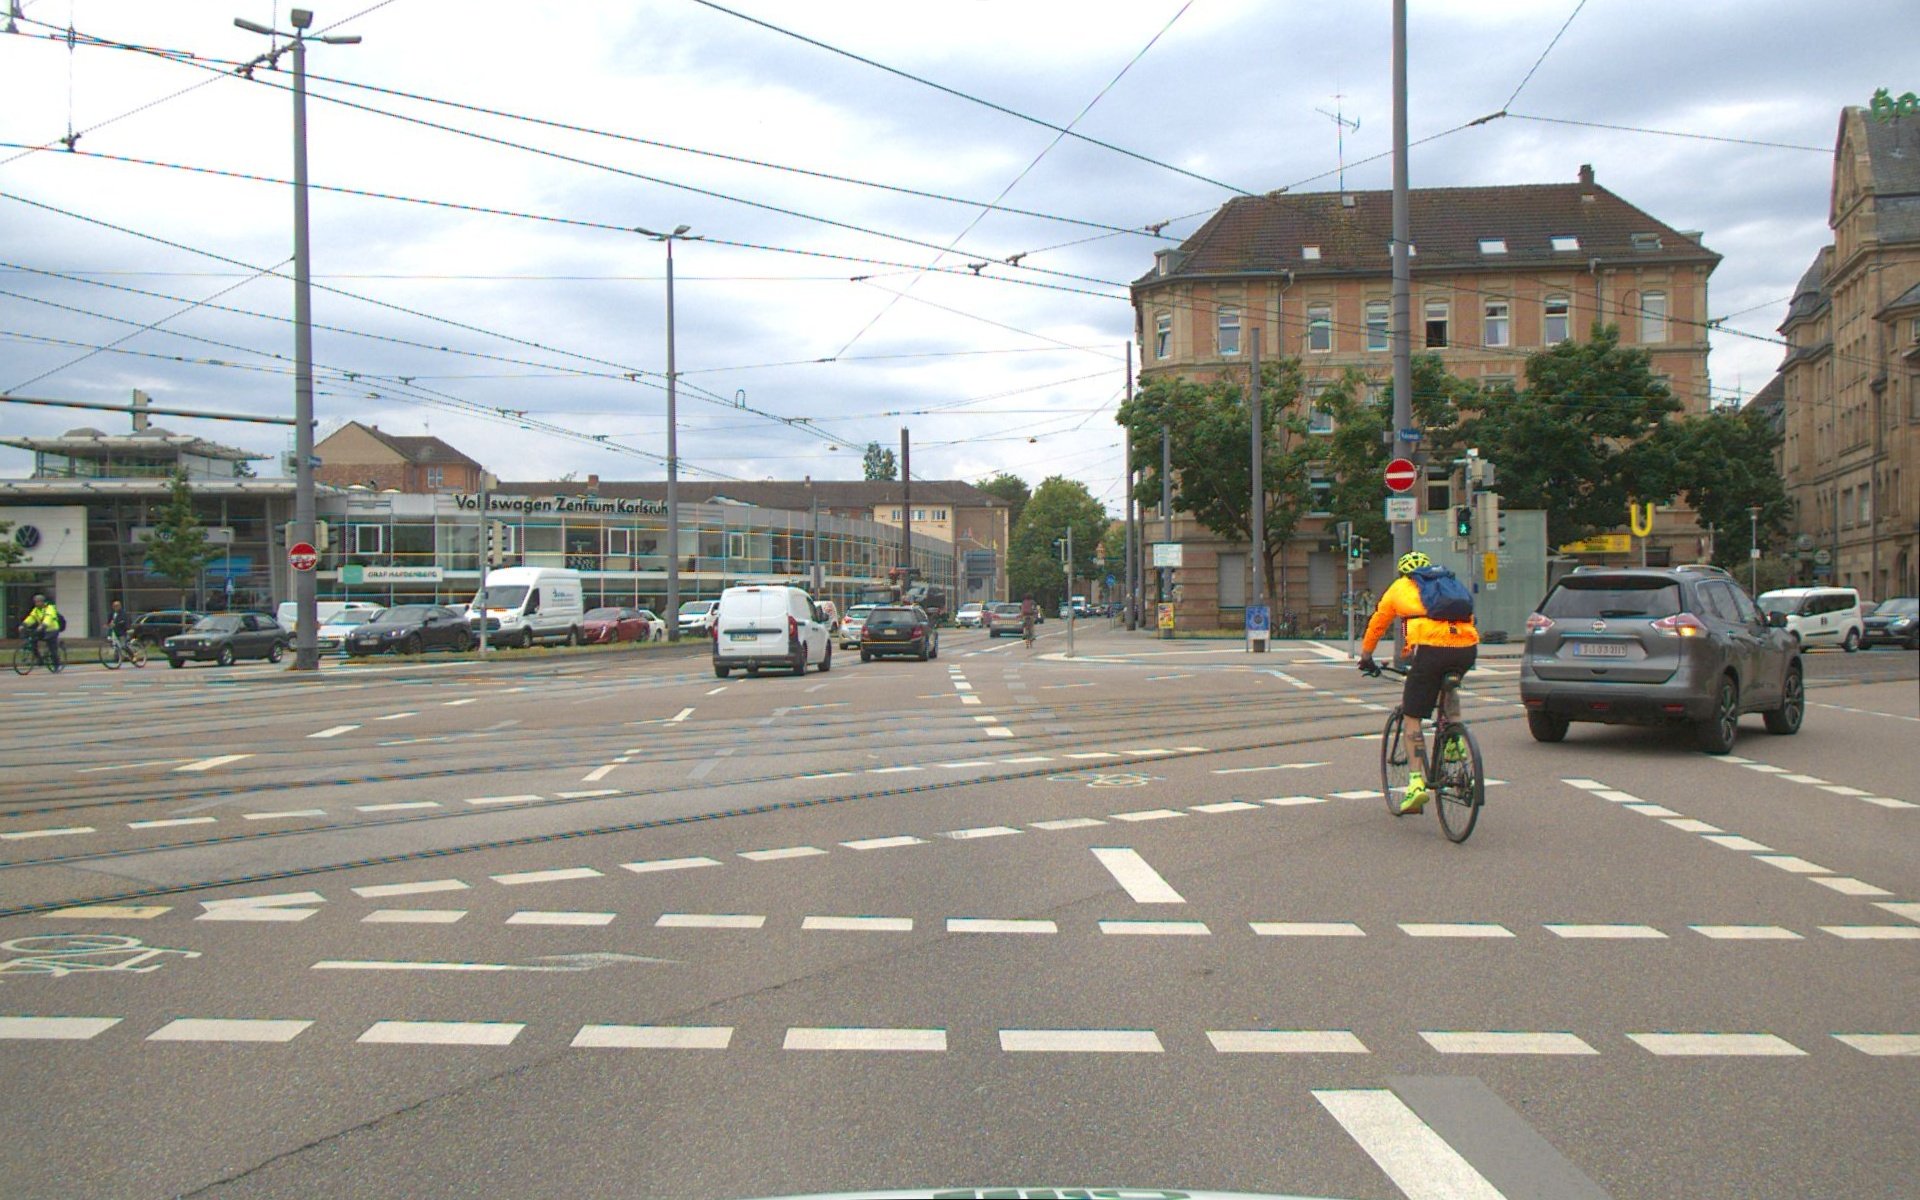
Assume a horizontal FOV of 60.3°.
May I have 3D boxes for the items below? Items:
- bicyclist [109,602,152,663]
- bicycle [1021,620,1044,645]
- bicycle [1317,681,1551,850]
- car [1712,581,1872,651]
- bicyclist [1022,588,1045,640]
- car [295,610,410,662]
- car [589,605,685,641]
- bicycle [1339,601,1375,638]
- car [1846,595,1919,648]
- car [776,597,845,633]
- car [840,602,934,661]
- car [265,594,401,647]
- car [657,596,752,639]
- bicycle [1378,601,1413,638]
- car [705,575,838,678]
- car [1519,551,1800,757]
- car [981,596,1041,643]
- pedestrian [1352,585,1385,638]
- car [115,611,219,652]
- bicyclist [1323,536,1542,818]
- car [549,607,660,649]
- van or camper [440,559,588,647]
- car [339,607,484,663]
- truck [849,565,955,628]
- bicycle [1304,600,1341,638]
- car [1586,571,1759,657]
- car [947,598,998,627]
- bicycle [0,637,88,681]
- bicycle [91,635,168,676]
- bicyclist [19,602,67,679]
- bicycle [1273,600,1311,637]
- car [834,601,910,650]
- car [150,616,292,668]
[{"bbox_3d":[-21.426,0.833,42.745,0.553,1.534,0.857,-1,1,12],"label":"bicyclist"},{"bbox_3d":[2.451,1.083,55.697,0.606,0.807,1.590,-1,0,-4],"label":"bicycle"},{"bbox_3d":[2.927,0.990,10.450,0.546,0.863,2.068,-1,0,-11],"label":"bicycle"},{"bbox_3d":[24.156,0.444,47.946,5.035,1.949,1.848,0,0,-33],"label":"car"},{"bbox_3d":[2.467,0.461,55.679,0.674,1.738,0.798,-1,0,-4],"label":"bicyclist"},{"bbox_3d":[-17.749,1.018,48.502,1.600,1.445,3.740,-1,0,8],"label":"car"},{"bbox_3d":[-13.553,0.951,69.674,1.951,1.445,4.753,-1,0,17],"label":"car"},{"bbox_3d":[15.073,0.736,62.717,0.938,1.378,3.120,0,-1,21],"label":"bicycle"},{"bbox_3d":[29.444,0.646,51.057,4.247,1.561,1.848,0,-2,-33],"label":"car"},{"bbox_3d":[-7.864,0.769,87.456,1.952,1.871,4.524,-1,0,20],"label":"car"},{"bbox_3d":[-1.848,0.796,43.243,1.951,1.445,4.002,-1,0,4],"label":"car"},{"bbox_3d":[-25.275,0.825,66.772,4.664,2.049,2.123,0,-1,8],"label":"car"},{"bbox_3d":[-11.655,0.771,75.911,2.111,1.889,5.450,-1,0,17],"label":"car"},{"bbox_3d":[16.516,0.750,62.715,0.938,1.378,3.120,0,-1,21],"label":"bicycle"},{"bbox_3d":[-3.798,0.507,33.972,1.872,1.974,4.134,0,0,5],"label":"car"},{"bbox_3d":[7.045,0.457,16.455,1.721,1.786,3.908,0,0,36],"label":"car"},{"bbox_3d":[2.326,0.872,74.401,1.951,2.049,4.003,0,-1,13],"label":"car"},{"bbox_3d":[13.651,0.395,55.260,0.893,1.758,0.601,0,0,-11],"label":"pedestrian"},{"bbox_3d":[-29.701,1.170,62.038,1.600,1.445,3.741,-1,0,11],"label":"car"},{"bbox_3d":[2.941,0.453,10.433,0.812,1.649,1.318,-1,0,-11],"label":"bicyclist"},{"bbox_3d":[-12.774,0.979,59.722,1.951,1.445,4.805,-1,0,15],"label":"car"},{"bbox_3d":[-14.190,0.118,53.088,2.363,2.656,6.056,0,-1,8],"label":"van or camper"},{"bbox_3d":[-15.057,0.921,45.709,1.951,1.445,4.666,-1,0,8],"label":"car"},{"bbox_3d":[-3.380,-0.149,99.299,2.737,3.611,9.220,0,-1,23],"label":"truck"},{"bbox_3d":[13.831,0.727,63.040,0.938,1.378,3.120,0,-1,21],"label":"bicycle"},{"bbox_3d":[16.830,0.316,39.001,4.332,1.933,1.675,0,-1,-34],"label":"car"},{"bbox_3d":[0.858,0.824,109.242,1.952,1.871,4.524,-1,0,20],"label":"car"},{"bbox_3d":[-21.974,1.403,39.737,0.507,0.946,2.225,-1,0,12],"label":"bicycle"},{"bbox_3d":[-21.428,1.421,42.727,0.507,0.942,2.225,-1,0,12],"label":"bicycle"},{"bbox_3d":[-22.005,0.963,39.693,0.614,1.835,0.798,-1,0,12],"label":"bicyclist"},{"bbox_3d":[12.734,0.720,63.342,0.938,1.378,3.120,0,-1,21],"label":"bicycle"},{"bbox_3d":[-2.845,0.833,54.420,1.813,1.534,4.003,0,-1,7],"label":"car"},{"bbox_3d":[-19.135,1.064,43.006,1.650,1.269,3.740,-1,0,8],"label":"car"}]
